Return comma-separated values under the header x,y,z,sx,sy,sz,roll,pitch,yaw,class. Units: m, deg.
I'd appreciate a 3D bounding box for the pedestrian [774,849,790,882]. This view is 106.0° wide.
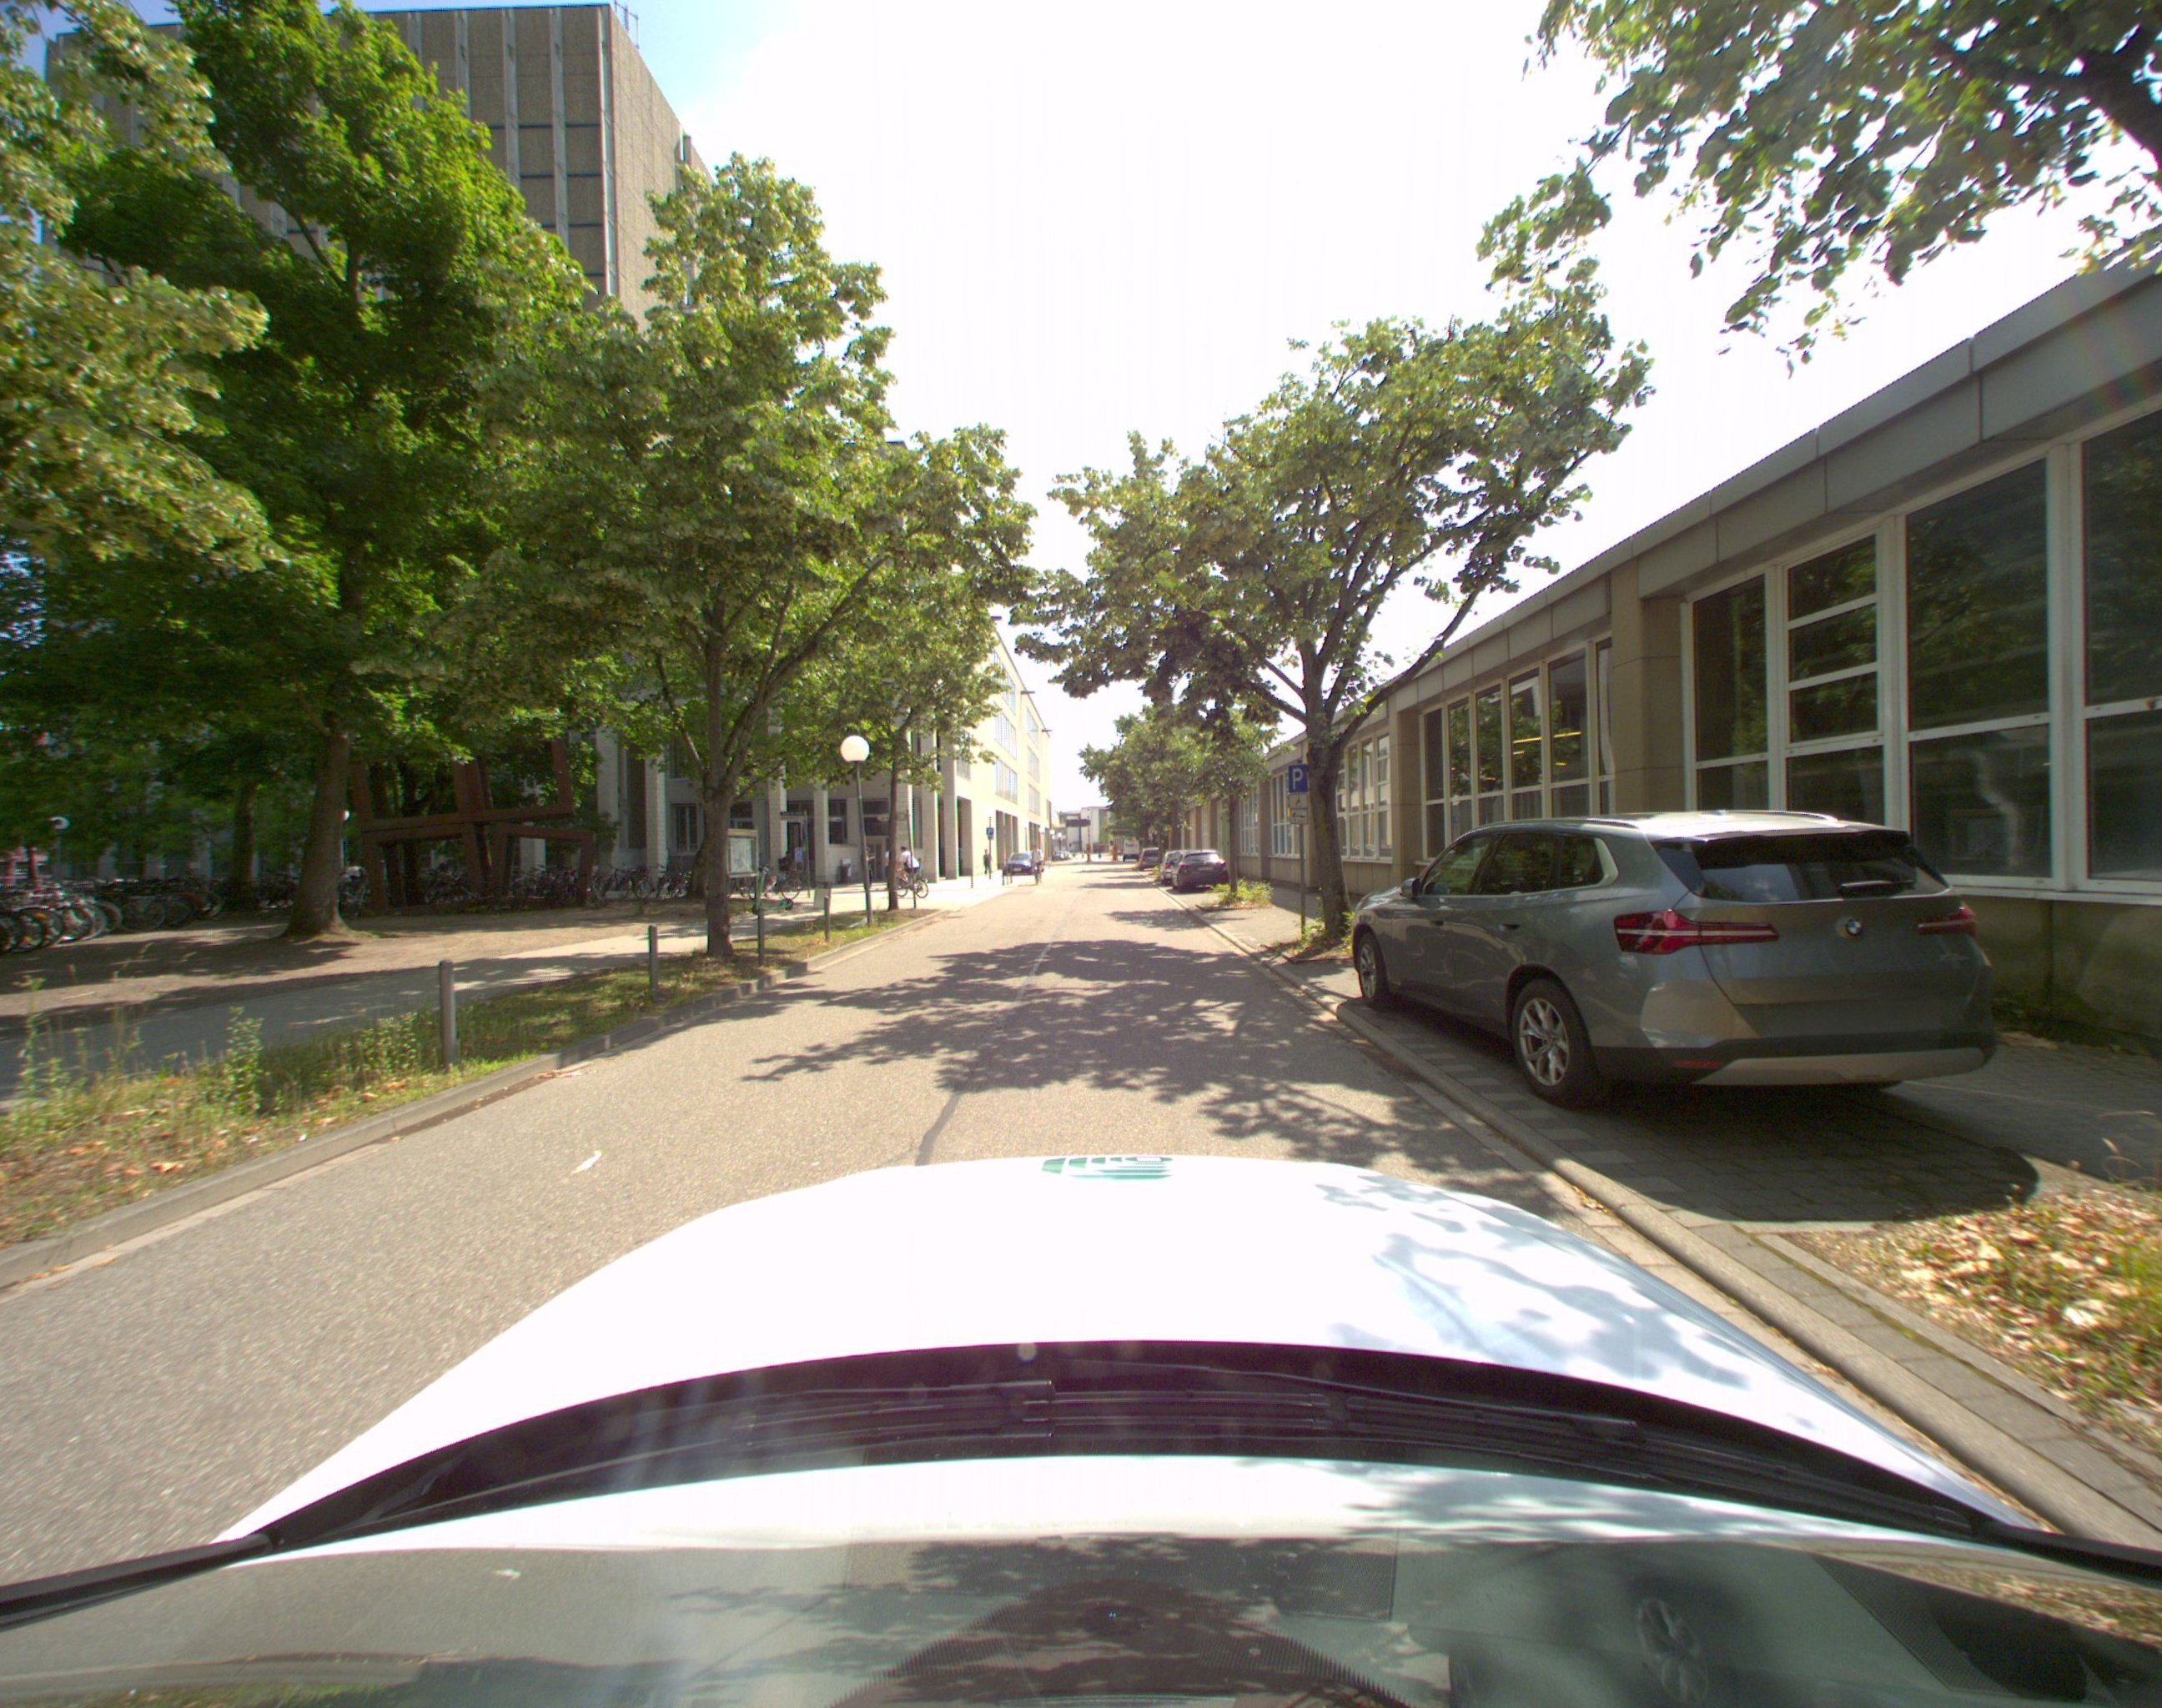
x,y,z,sx,sy,sz,roll,pitch,yaw,class
-12.594,0.481,34.314,0.465,1.383,0.443,-2,3,-8,pedestrian

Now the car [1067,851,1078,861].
x,y,z,sx,sy,sz,roll,pitch,yaw,class
-1.319,0.349,130.541,1.640,1.498,3.729,-2,-2,1,car

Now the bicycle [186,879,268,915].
x,y,z,sx,sy,sz,roll,pitch,yaw,class
-28.149,1.398,26.885,0.550,1.086,1.974,1,0,2,bicycle

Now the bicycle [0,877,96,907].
x,y,z,sx,sy,sz,roll,pitch,yaw,class
-34.516,1.258,27.186,0.417,0.875,2.286,0,0,2,bicycle

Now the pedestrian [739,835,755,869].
x,y,z,sx,sy,sz,roll,pitch,yaw,class
-16.865,-0.097,41.118,0.637,1.661,0.687,-1,0,-31,pedestrian

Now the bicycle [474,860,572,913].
x,y,z,sx,sy,sz,roll,pitch,yaw,class
-14.476,0.811,21.181,2.027,1.253,0.582,-2,1,-31,bicycle

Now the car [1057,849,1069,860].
x,y,z,sx,sy,sz,roll,pitch,yaw,class
-2.620,0.075,118.717,1.640,1.498,3.729,-2,-2,1,car

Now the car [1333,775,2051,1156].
x,y,z,sx,sy,sz,roll,pitch,yaw,class
3.501,0.527,6.013,1.816,1.664,4.583,-2,-1,0,car

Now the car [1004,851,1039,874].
x,y,z,sx,sy,sz,roll,pitch,yaw,class
-3.830,0.539,53.072,1.759,1.427,4.238,-1,0,3,car

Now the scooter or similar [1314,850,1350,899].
x,y,z,sx,sy,sz,roll,pitch,yaw,class
6.784,0.525,22.039,0.509,1.249,1.486,-2,0,2,scooter or similar

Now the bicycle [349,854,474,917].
x,y,z,sx,sy,sz,roll,pitch,yaw,class
-16.400,0.735,20.022,2.298,1.450,0.601,-1,0,-32,bicycle

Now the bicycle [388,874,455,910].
x,y,z,sx,sy,sz,roll,pitch,yaw,class
-21.841,1.227,27.033,0.550,1.086,1.974,1,0,2,bicycle

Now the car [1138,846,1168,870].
x,y,z,sx,sy,sz,roll,pitch,yaw,class
5.032,0.243,57.538,1.851,1.574,4.002,-3,0,2,car

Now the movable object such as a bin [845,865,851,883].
x,y,z,sx,sy,sz,roll,pitch,yaw,class
-12.031,1.035,42.026,0.168,0.895,0.448,-1,0,-4,movable object such as a bin

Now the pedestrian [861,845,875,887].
x,y,z,sx,sy,sz,roll,pitch,yaw,class
-9.167,0.525,35.069,0.443,1.775,0.447,-1,0,-29,pedestrian

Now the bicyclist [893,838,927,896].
x,y,z,sx,sy,sz,roll,pitch,yaw,class
-6.054,0.445,28.873,0.841,2.013,0.879,-1,0,13,bicyclist

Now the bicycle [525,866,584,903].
x,y,z,sx,sy,sz,roll,pitch,yaw,class
-15.716,0.891,24.353,0.473,1.032,1.851,-1,0,2,bicycle

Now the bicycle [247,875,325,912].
x,y,z,sx,sy,sz,roll,pitch,yaw,class
-25.892,1.258,26.574,0.550,1.086,1.974,1,0,2,bicycle

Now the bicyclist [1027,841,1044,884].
x,y,z,sx,sy,sz,roll,pitch,yaw,class
-2.204,0.415,39.456,0.709,2.013,1.018,-3,0,-1,bicyclist

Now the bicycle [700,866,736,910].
x,y,z,sx,sy,sz,roll,pitch,yaw,class
-9.081,0.828,20.428,0.382,1.025,1.808,-1,0,-10,bicycle

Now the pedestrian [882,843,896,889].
x,y,z,sx,sy,sz,roll,pitch,yaw,class
-8.096,0.494,34.289,0.415,1.941,0.657,0,0,-27,pedestrian

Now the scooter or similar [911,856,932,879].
x,y,z,sx,sy,sz,roll,pitch,yaw,class
-8.714,0.735,44.554,0.529,1.210,1.541,-1,0,-36,scooter or similar

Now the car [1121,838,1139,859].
x,y,z,sx,sy,sz,roll,pitch,yaw,class
6.042,-0.668,100.423,2.076,2.539,4.317,0,0,1,car

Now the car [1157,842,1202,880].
x,y,z,sx,sy,sz,roll,pitch,yaw,class
4.189,0.282,35.155,1.610,1.538,3.782,-1,0,2,car

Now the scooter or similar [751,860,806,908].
x,y,z,sx,sy,sz,roll,pitch,yaw,class
-7.733,0.745,20.848,0.335,1.175,1.337,0,0,37,scooter or similar

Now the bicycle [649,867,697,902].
x,y,z,sx,sy,sz,roll,pitch,yaw,class
-13.473,0.992,26.943,0.550,1.086,1.974,1,0,2,bicycle

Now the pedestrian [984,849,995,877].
x,y,z,sx,sy,sz,roll,pitch,yaw,class
-5.683,0.548,50.504,0.649,1.701,0.887,-1,0,-9,pedestrian

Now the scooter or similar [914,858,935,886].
x,y,z,sx,sy,sz,roll,pitch,yaw,class
-7.093,0.800,36.953,0.452,1.223,1.551,-1,0,5,scooter or similar

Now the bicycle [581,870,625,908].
x,y,z,sx,sy,sz,roll,pitch,yaw,class
-13.083,0.931,22.331,0.475,0.965,1.651,-1,0,-9,bicycle

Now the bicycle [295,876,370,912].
x,y,z,sx,sy,sz,roll,pitch,yaw,class
-24.414,1.287,26.612,0.550,1.086,1.974,1,0,2,bicycle

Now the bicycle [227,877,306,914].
x,y,z,sx,sy,sz,roll,pitch,yaw,class
-26.593,1.348,26.628,0.550,1.086,1.974,1,0,2,bicycle

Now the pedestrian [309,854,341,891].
x,y,z,sx,sy,sz,roll,pitch,yaw,class
-32.497,0.796,35.013,0.702,1.540,0.717,-1,0,-9,pedestrian

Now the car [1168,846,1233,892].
x,y,z,sx,sy,sz,roll,pitch,yaw,class
4.258,0.501,29.637,1.774,1.476,4.464,-3,0,2,car
